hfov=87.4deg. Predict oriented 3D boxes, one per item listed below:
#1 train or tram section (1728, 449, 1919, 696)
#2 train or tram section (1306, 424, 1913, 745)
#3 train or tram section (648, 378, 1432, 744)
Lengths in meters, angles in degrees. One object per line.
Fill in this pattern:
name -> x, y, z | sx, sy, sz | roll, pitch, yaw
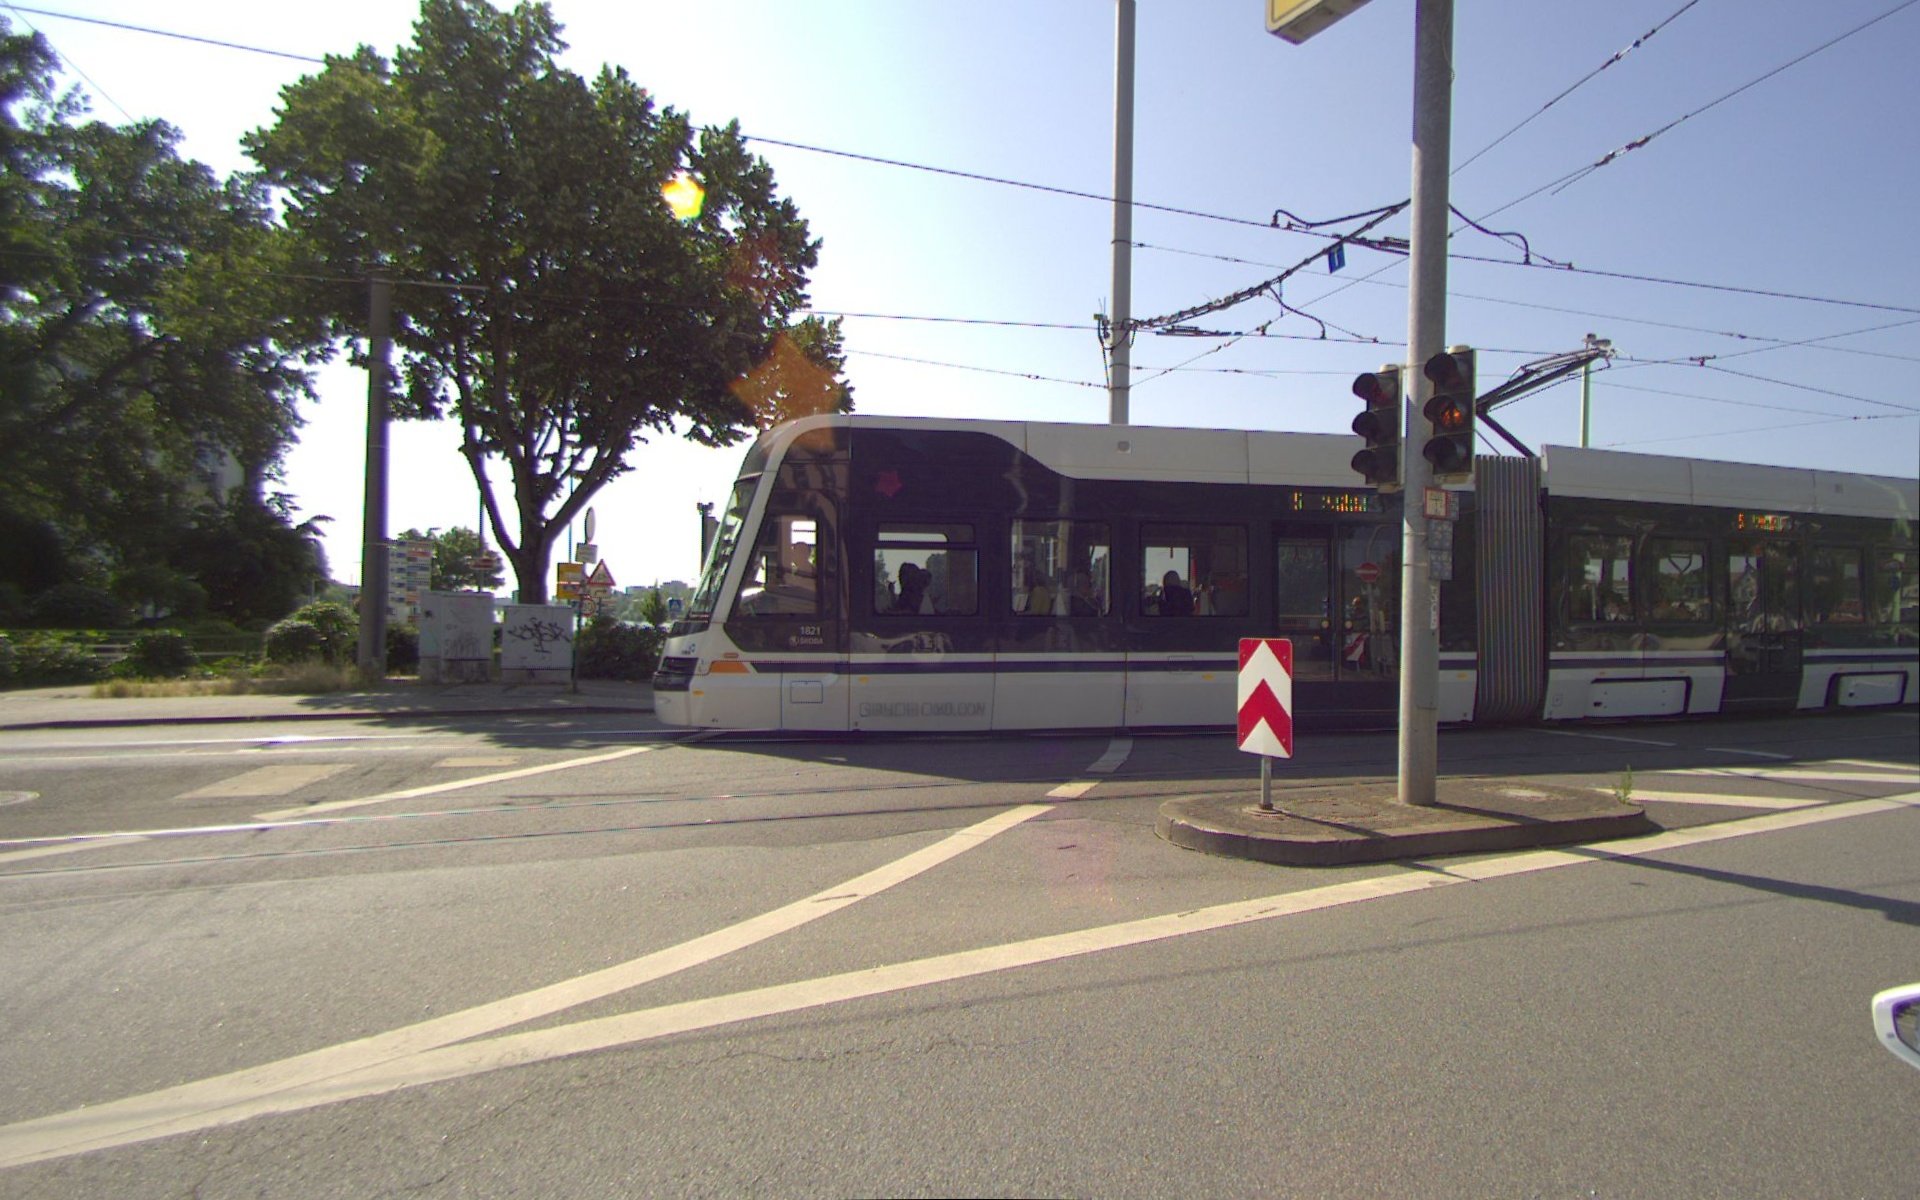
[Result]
train or tram section -> 17.920, -0.399, 18.494 | 9.500, 3.730, 2.394 | 0, 0, -29
train or tram section -> 9.608, -0.169, 14.699 | 9.028, 3.827, 2.534 | 0, 0, -20
train or tram section -> 0.997, -0.352, 12.500 | 9.002, 3.827, 2.541 | 0, -1, -9
